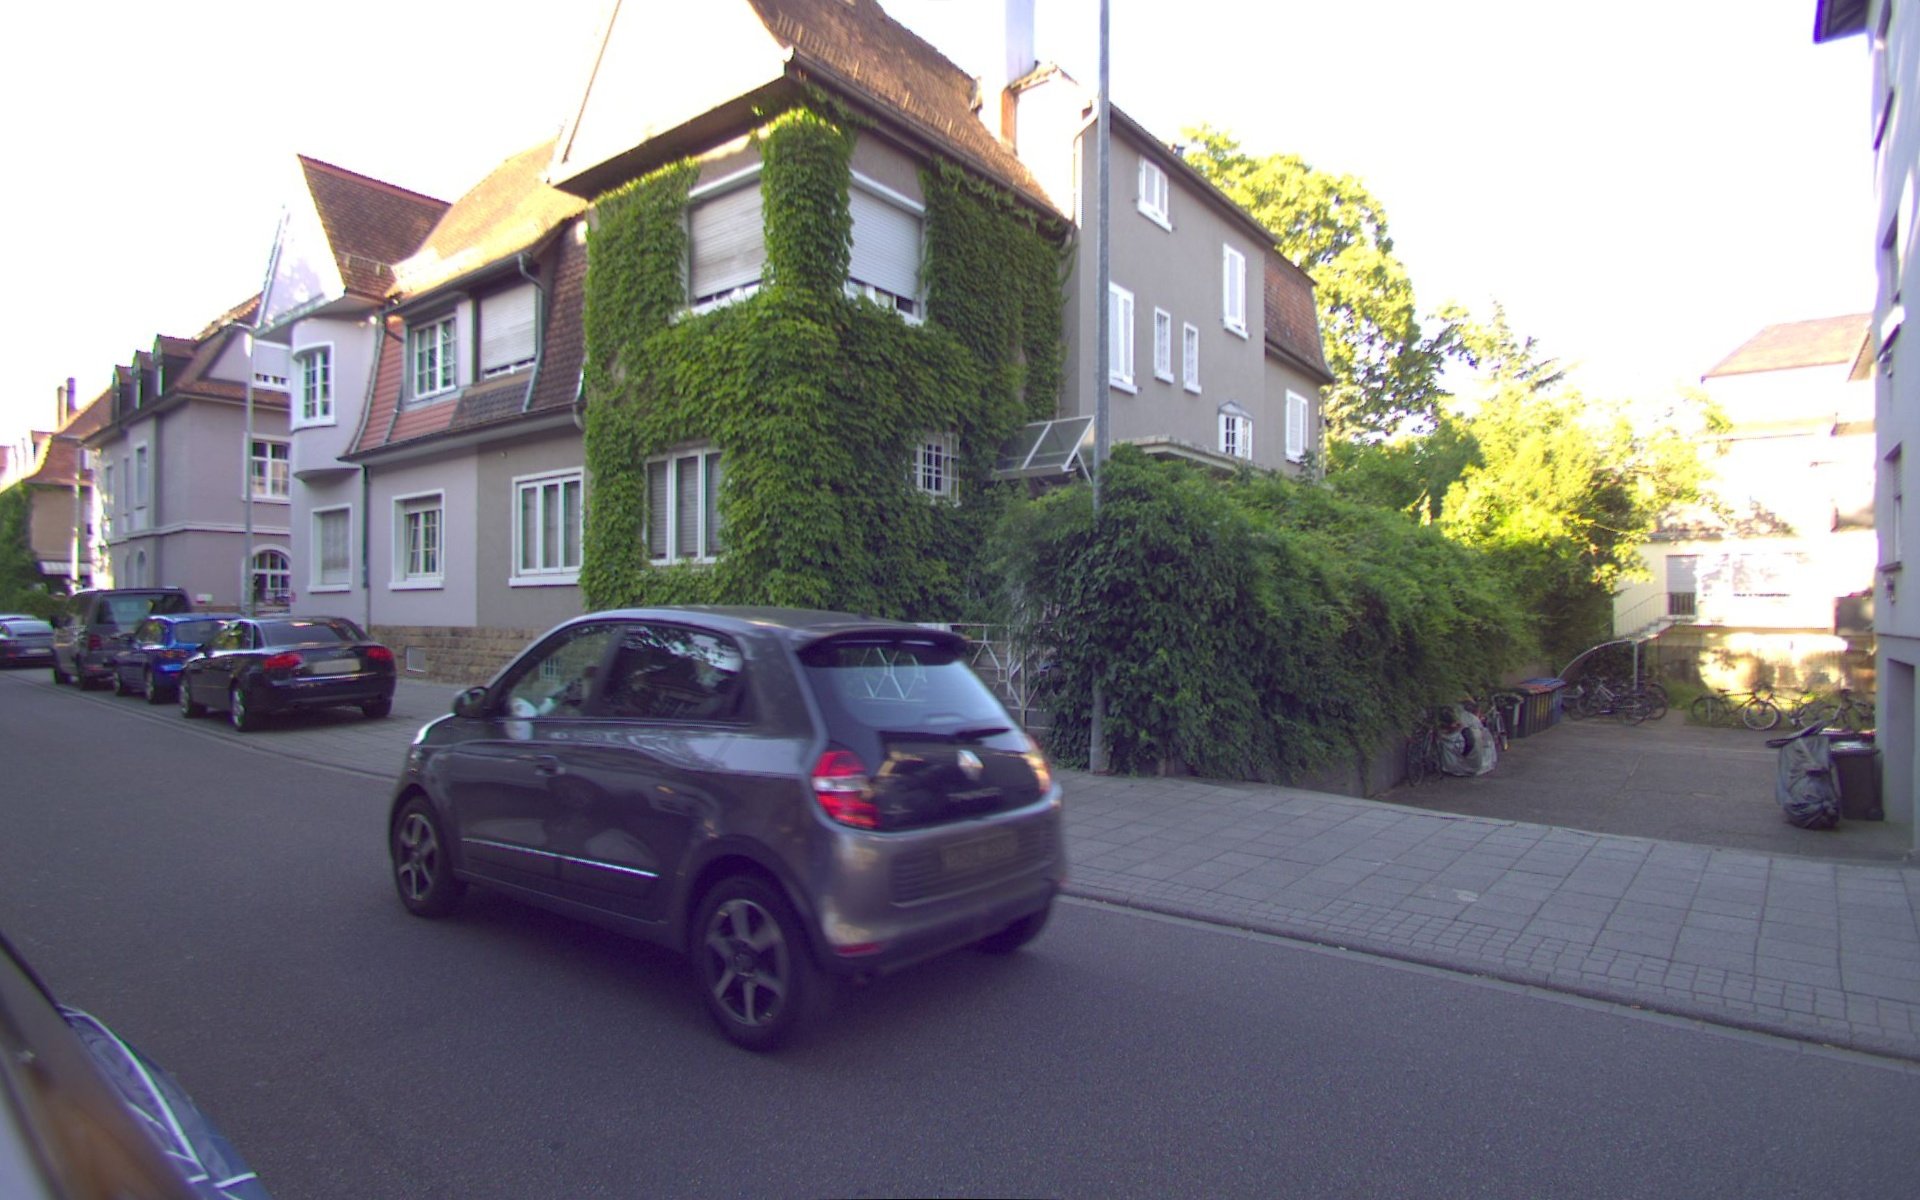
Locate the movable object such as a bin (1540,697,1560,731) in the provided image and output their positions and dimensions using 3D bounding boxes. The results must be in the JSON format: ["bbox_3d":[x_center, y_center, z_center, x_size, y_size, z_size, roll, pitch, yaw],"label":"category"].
[{"bbox_3d":[13.797,2.656,23.654,0.346,0.764,0.359,-1,-4,41],"label":"movable object such as a bin"}]

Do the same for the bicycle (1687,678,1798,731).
[{"bbox_3d":[18.787,2.494,24.330,2.068,1.028,0.634,1,3,41],"label":"bicycle"}]

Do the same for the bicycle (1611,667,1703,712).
[{"bbox_3d":[19.428,2.483,28.234,2.068,1.028,0.561,1,3,41],"label":"bicycle"}]

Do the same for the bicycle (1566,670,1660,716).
[{"bbox_3d":[17.709,2.506,27.464,2.068,1.028,0.608,1,3,41],"label":"bicycle"}]

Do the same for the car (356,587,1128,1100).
[{"bbox_3d":[-1.191,0.773,4.753,3.587,1.513,1.600,-1,-3,38],"label":"car"}]

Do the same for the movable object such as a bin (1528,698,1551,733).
[{"bbox_3d":[13.032,2.590,22.756,0.375,0.764,0.359,-1,-4,41],"label":"movable object such as a bin"}]

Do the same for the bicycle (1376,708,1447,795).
[{"bbox_3d":[6.779,2.230,15.152,0.514,1.027,1.914,1,0,38],"label":"bicycle"}]

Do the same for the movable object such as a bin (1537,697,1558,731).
[{"bbox_3d":[13.546,2.627,23.346,0.367,0.764,0.359,-1,-4,41],"label":"movable object such as a bin"}]

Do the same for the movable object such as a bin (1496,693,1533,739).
[{"bbox_3d":[11.553,2.403,21.087,0.576,0.886,0.488,0,-3,41],"label":"movable object such as a bin"}]

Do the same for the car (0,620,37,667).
[{"bbox_3d":[-30.393,1.341,31.809,3.942,1.381,1.522,-1,1,40],"label":"car"}]

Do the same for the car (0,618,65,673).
[{"bbox_3d":[-26.490,1.239,28.201,4.331,1.381,1.698,-1,1,40],"label":"car"}]

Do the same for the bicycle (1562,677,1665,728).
[{"bbox_3d":[16.284,2.525,25.250,2.068,1.028,0.634,1,3,41],"label":"bicycle"}]

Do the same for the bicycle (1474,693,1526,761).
[{"bbox_3d":[9.967,2.312,18.663,0.514,1.027,1.914,1,0,38],"label":"bicycle"}]

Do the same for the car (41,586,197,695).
[{"bbox_3d":[-17.443,0.761,20.923,4.308,1.987,1.698,0,2,40],"label":"car"}]

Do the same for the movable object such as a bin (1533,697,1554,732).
[{"bbox_3d":[13.294,2.606,23.050,0.367,0.764,0.359,-1,-4,41],"label":"movable object such as a bin"}]

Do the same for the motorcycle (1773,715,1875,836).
[{"bbox_3d":[10.728,2.134,12.620,0.757,1.261,1.575,-1,-3,34],"label":"motorcycle"}]

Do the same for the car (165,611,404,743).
[{"bbox_3d":[-9.317,0.926,13.838,4.023,1.439,1.729,0,2,42],"label":"car"}]

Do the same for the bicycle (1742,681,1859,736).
[{"bbox_3d":[19.585,2.513,23.624,2.068,1.028,0.634,1,3,41],"label":"bicycle"}]

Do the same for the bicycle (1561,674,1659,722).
[{"bbox_3d":[16.848,2.517,26.262,2.068,1.028,0.565,1,3,41],"label":"bicycle"}]

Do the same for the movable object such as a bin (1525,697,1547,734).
[{"bbox_3d":[12.780,2.565,22.455,0.381,0.779,0.359,-1,-4,41],"label":"movable object such as a bin"}]

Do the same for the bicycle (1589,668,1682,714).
[{"bbox_3d":[18.626,2.494,27.930,2.068,1.028,0.608,1,3,41],"label":"bicycle"}]

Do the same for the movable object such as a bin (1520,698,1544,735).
[{"bbox_3d":[12.511,2.544,22.151,0.398,0.779,0.359,-1,-4,41],"label":"movable object such as a bin"}]

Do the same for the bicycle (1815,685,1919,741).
[{"bbox_3d":[20.581,2.536,22.740,2.068,1.028,0.634,1,3,41],"label":"bicycle"}]

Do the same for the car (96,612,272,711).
[{"bbox_3d":[-13.718,0.986,17.806,4.021,1.475,1.591,0,2,40],"label":"car"}]

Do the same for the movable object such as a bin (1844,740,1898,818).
[{"bbox_3d":[11.771,2.297,13.090,0.432,0.894,0.717,-1,-3,37],"label":"movable object such as a bin"}]
